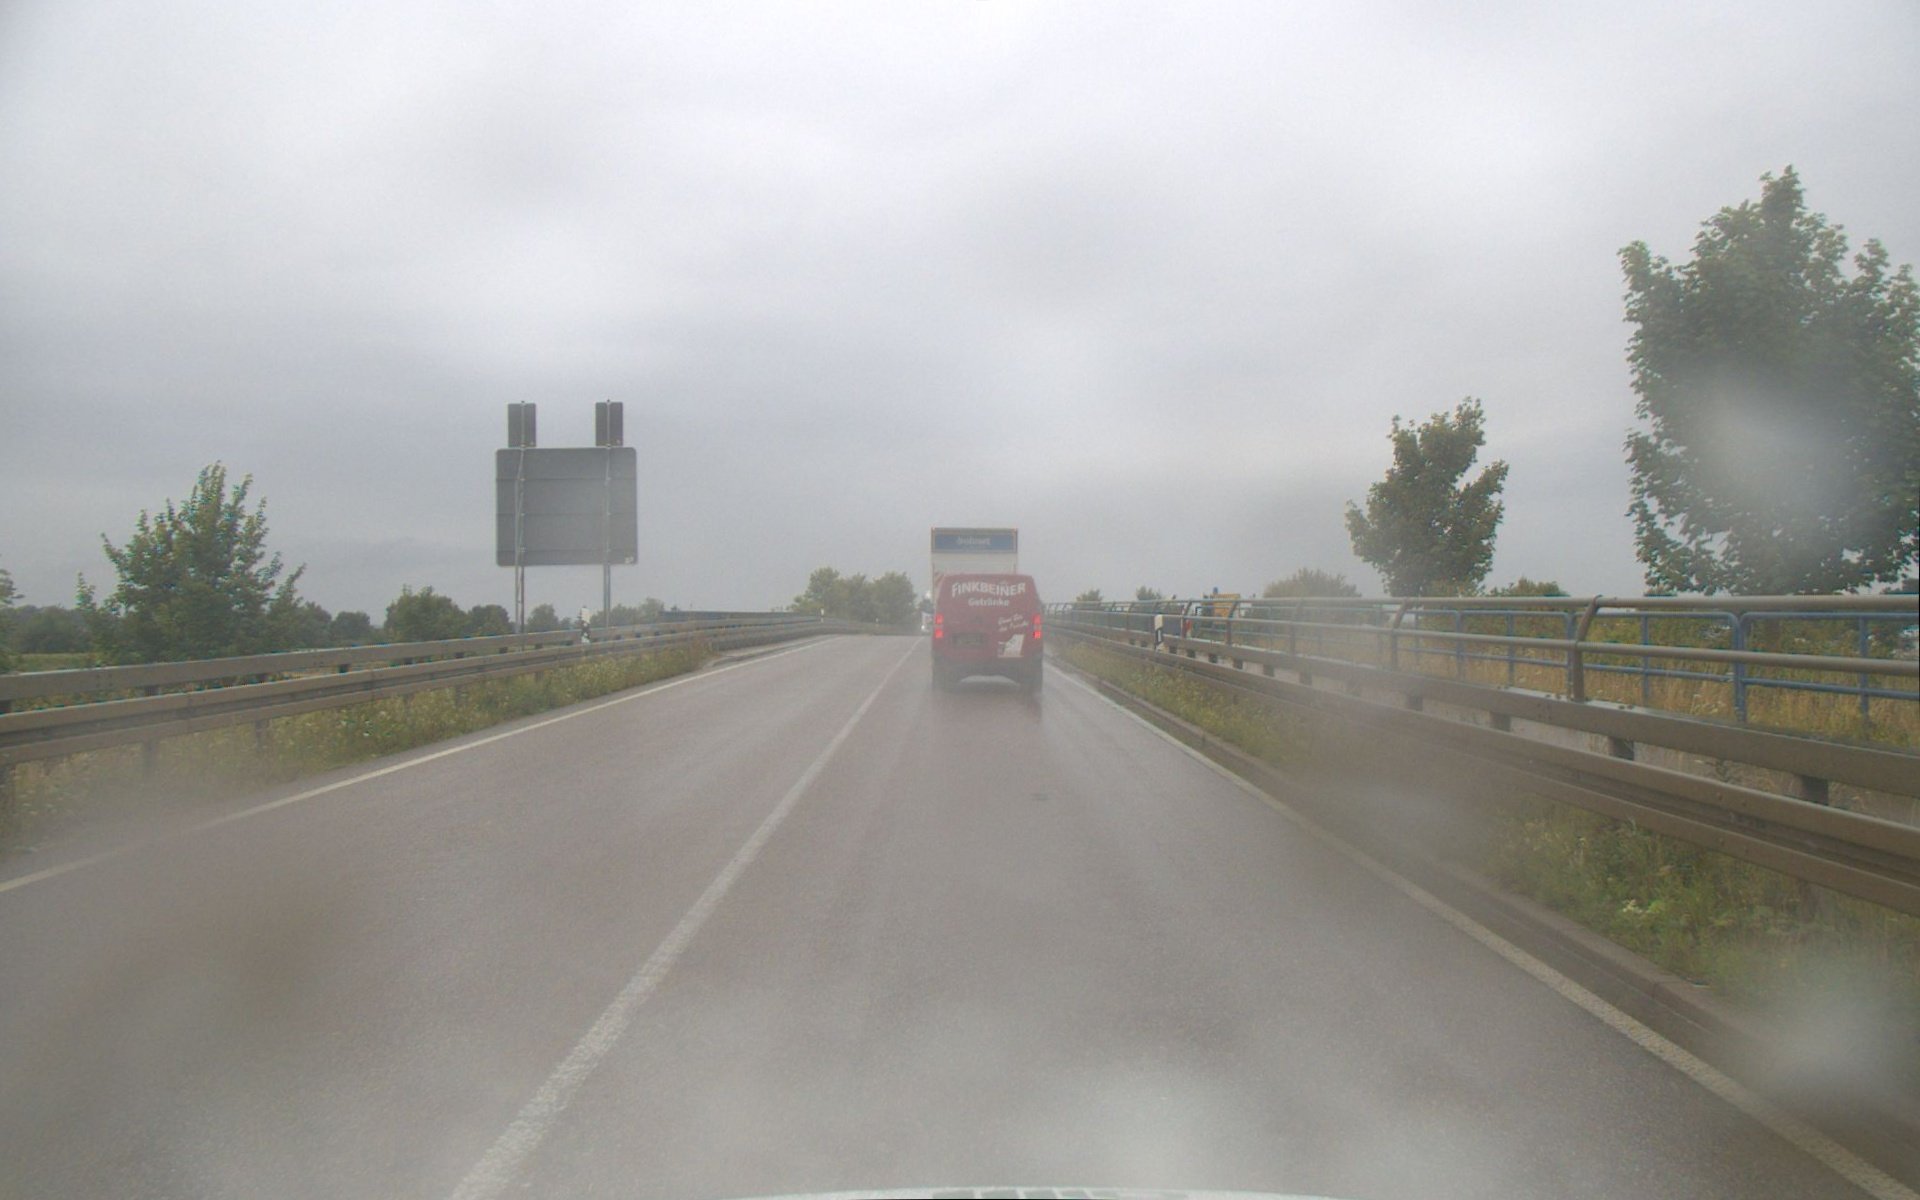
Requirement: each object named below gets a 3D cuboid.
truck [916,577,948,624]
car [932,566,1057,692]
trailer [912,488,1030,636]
[{"bbox_3d":[-2.508,0.070,146.656,2.760,4.040,8.761,0,0,-1],"label":"truck"},{"bbox_3d":[0.512,0.444,28.170,1.953,1.959,4.142,1,0,-1],"label":"car"},{"bbox_3d":[0.397,-0.992,50.723,3.135,3.990,8.740,3,-1,1],"label":"trailer"}]
